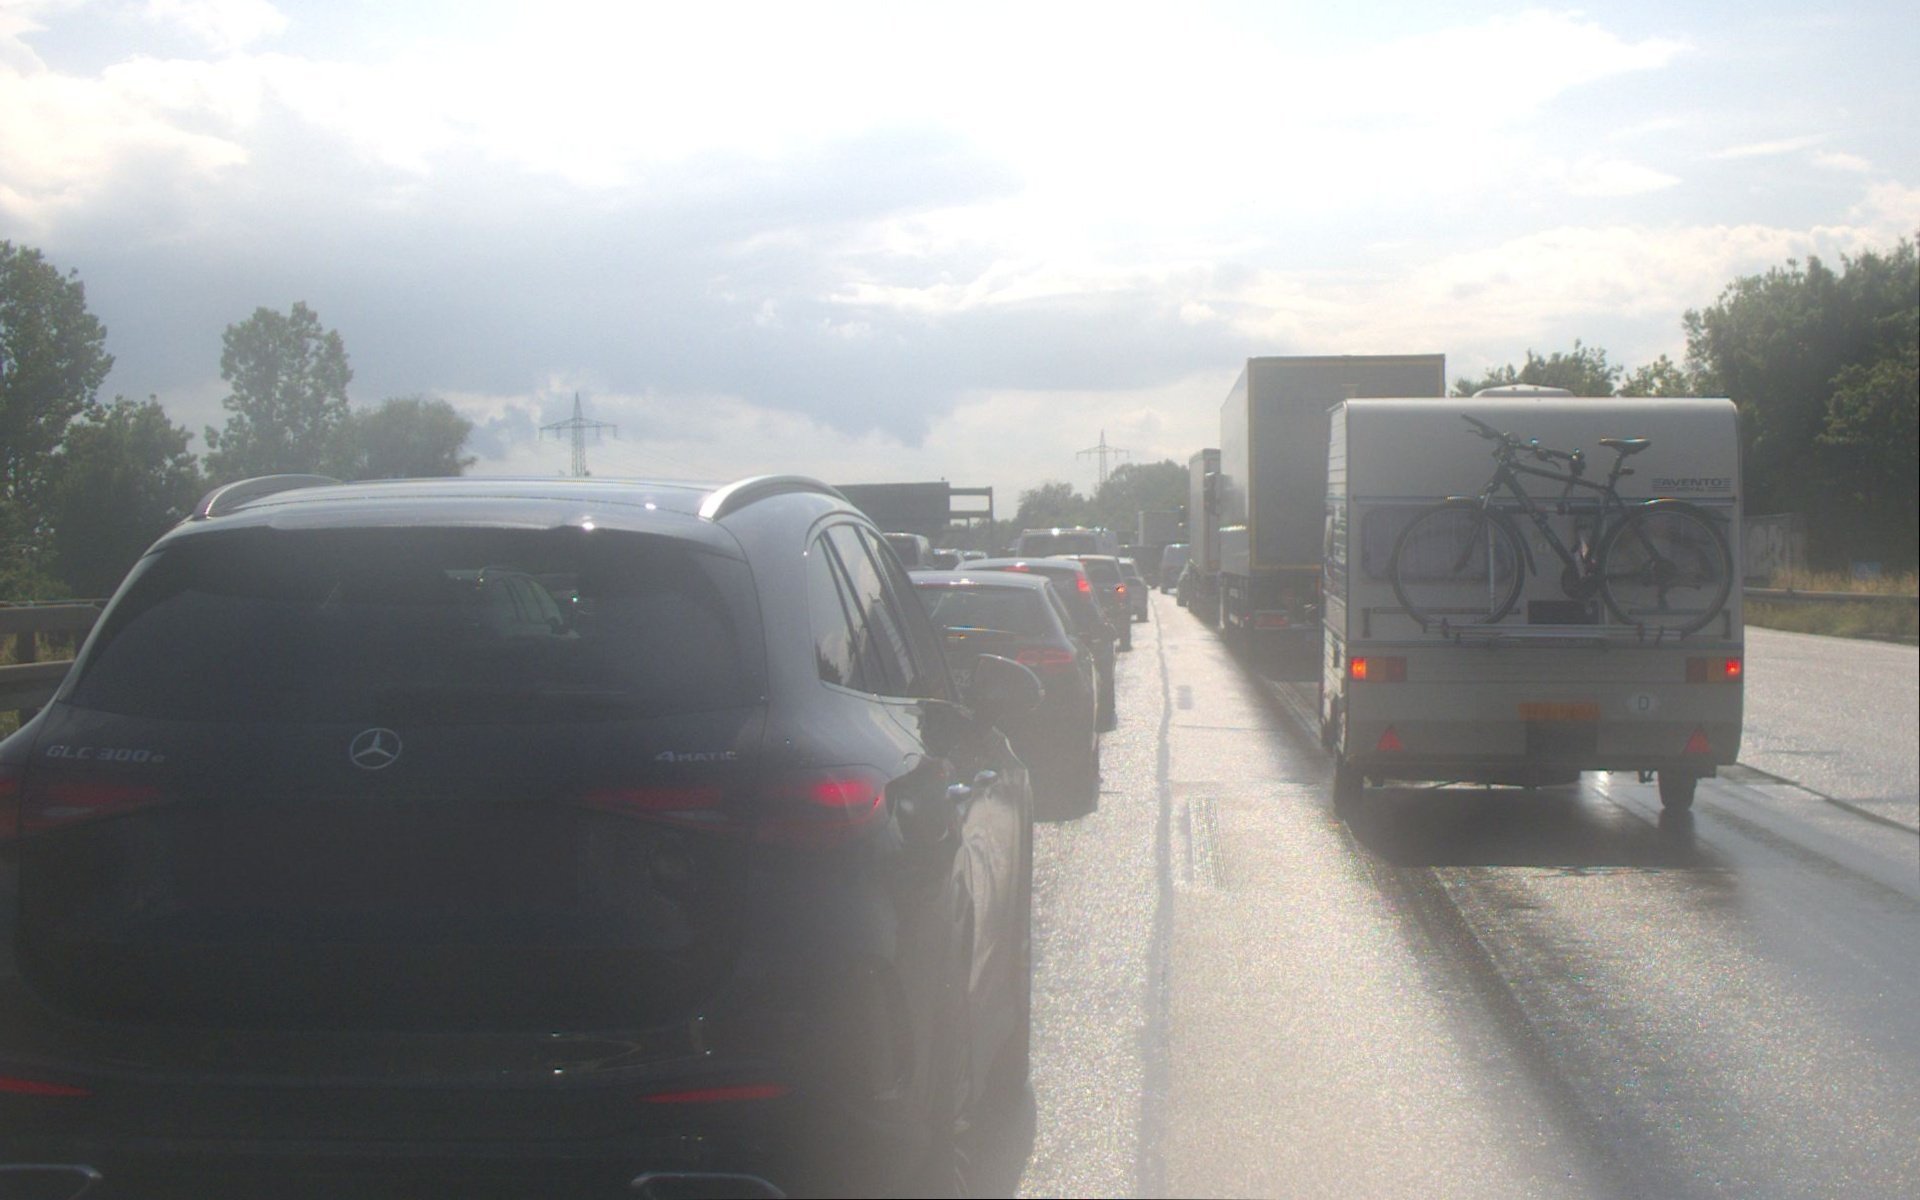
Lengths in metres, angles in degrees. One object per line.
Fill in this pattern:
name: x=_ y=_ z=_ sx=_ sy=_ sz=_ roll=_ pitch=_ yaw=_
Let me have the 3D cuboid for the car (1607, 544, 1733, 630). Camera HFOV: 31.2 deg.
car: x=13.626 y=-0.275 z=66.198 sx=1.788 sy=1.607 sz=4.384 roll=0 pitch=1 yaw=4

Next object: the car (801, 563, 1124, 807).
car: x=0.104 y=0.470 z=21.771 sx=1.757 sy=1.382 sz=3.944 roll=0 pitch=1 yaw=4

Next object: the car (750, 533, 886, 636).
car: x=-2.526 y=-0.303 z=62.108 sx=1.994 sy=1.766 sz=4.000 roll=1 pitch=1 yaw=4

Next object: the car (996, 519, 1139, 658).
car: x=1.746 y=-0.200 z=54.724 sx=1.994 sy=2.007 sz=4.000 roll=4 pitch=1 yaw=4

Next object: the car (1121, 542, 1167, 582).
car: x=8.265 y=-1.705 z=154.721 sx=1.876 sy=1.754 sz=4.000 roll=1 pitch=1 yaw=1

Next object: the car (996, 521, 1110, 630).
car: x=1.819 y=-0.478 z=65.810 sx=1.994 sy=2.007 sz=4.000 roll=0 pitch=1 yaw=4

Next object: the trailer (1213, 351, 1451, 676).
trailer: x=5.170 y=-1.171 z=48.378 sx=3.007 sy=4.152 sz=8.534 roll=0 pitch=1 yaw=5

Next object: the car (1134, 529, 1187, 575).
car: x=7.894 y=-1.892 z=135.671 sx=1.876 sy=1.754 sz=4.000 roll=1 pitch=1 yaw=1

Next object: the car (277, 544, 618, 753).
car: x=-3.922 y=0.318 z=26.999 sx=1.757 sy=1.511 sz=4.208 roll=0 pitch=1 yaw=4

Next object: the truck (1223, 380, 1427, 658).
truck: x=5.700 y=-1.247 z=54.007 sx=2.996 sy=4.152 sz=5.239 roll=0 pitch=1 yaw=5

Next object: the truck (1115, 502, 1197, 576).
truck: x=11.041 y=-3.431 z=195.034 sx=3.843 sy=4.003 sz=11.222 roll=1 pitch=1 yaw=-1

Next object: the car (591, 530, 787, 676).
car: x=-3.345 y=0.014 z=43.105 sx=1.993 sy=1.714 sz=4.000 roll=1 pitch=1 yaw=2

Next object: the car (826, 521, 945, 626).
car: x=-1.523 y=-0.559 z=71.746 sx=1.994 sy=2.007 sz=4.000 roll=4 pitch=1 yaw=4

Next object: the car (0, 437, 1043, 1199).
car: x=-0.878 y=0.541 z=7.841 sx=1.994 sy=1.656 sz=4.405 roll=0 pitch=1 yaw=3

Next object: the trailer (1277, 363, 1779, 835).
trailer: x=3.306 y=-0.042 z=21.491 sx=2.374 sy=2.475 sz=6.522 roll=1 pitch=1 yaw=3

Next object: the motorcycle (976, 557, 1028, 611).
motorcycle: x=1.008 y=-0.387 z=81.160 sx=1.074 sy=1.267 sz=2.690 roll=0 pitch=1 yaw=4

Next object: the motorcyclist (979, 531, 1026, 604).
motorcyclist: x=1.010 y=-0.769 z=81.145 sx=1.064 sy=1.712 sz=0.785 roll=0 pitch=0 yaw=4

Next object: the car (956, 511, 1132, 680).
car: x=1.099 y=-0.083 z=43.083 sx=1.994 sy=2.007 sz=4.000 roll=1 pitch=1 yaw=4

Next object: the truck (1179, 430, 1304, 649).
truck: x=6.439 y=-1.371 z=79.576 sx=2.502 sy=4.813 sz=7.543 roll=1 pitch=1 yaw=2

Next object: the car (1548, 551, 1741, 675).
car: x=8.150 y=0.121 z=41.206 sx=1.740 sy=1.415 sz=3.835 roll=0 pitch=1 yaw=3

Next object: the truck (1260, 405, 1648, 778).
truck: x=3.553 y=-0.091 z=25.894 sx=2.374 sy=2.468 sz=5.755 roll=1 pitch=1 yaw=3

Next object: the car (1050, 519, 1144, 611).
car: x=3.133 y=-0.798 z=77.869 sx=1.994 sy=2.007 sz=4.000 roll=0 pitch=1 yaw=4

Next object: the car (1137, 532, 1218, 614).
car: x=5.612 y=-0.696 z=88.458 sx=1.994 sy=2.007 sz=4.000 roll=2 pitch=1 yaw=4

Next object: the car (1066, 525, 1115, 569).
car: x=5.333 y=-2.153 z=140.719 sx=1.876 sy=1.754 sz=4.000 roll=1 pitch=1 yaw=1

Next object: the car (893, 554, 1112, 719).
car: x=0.453 y=0.291 z=31.636 sx=1.806 sy=1.402 sz=4.000 roll=1 pitch=1 yaw=4

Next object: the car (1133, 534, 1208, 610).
car: x=6.065 y=-0.811 z=98.716 sx=1.994 sy=2.007 sz=4.000 roll=4 pitch=1 yaw=4
